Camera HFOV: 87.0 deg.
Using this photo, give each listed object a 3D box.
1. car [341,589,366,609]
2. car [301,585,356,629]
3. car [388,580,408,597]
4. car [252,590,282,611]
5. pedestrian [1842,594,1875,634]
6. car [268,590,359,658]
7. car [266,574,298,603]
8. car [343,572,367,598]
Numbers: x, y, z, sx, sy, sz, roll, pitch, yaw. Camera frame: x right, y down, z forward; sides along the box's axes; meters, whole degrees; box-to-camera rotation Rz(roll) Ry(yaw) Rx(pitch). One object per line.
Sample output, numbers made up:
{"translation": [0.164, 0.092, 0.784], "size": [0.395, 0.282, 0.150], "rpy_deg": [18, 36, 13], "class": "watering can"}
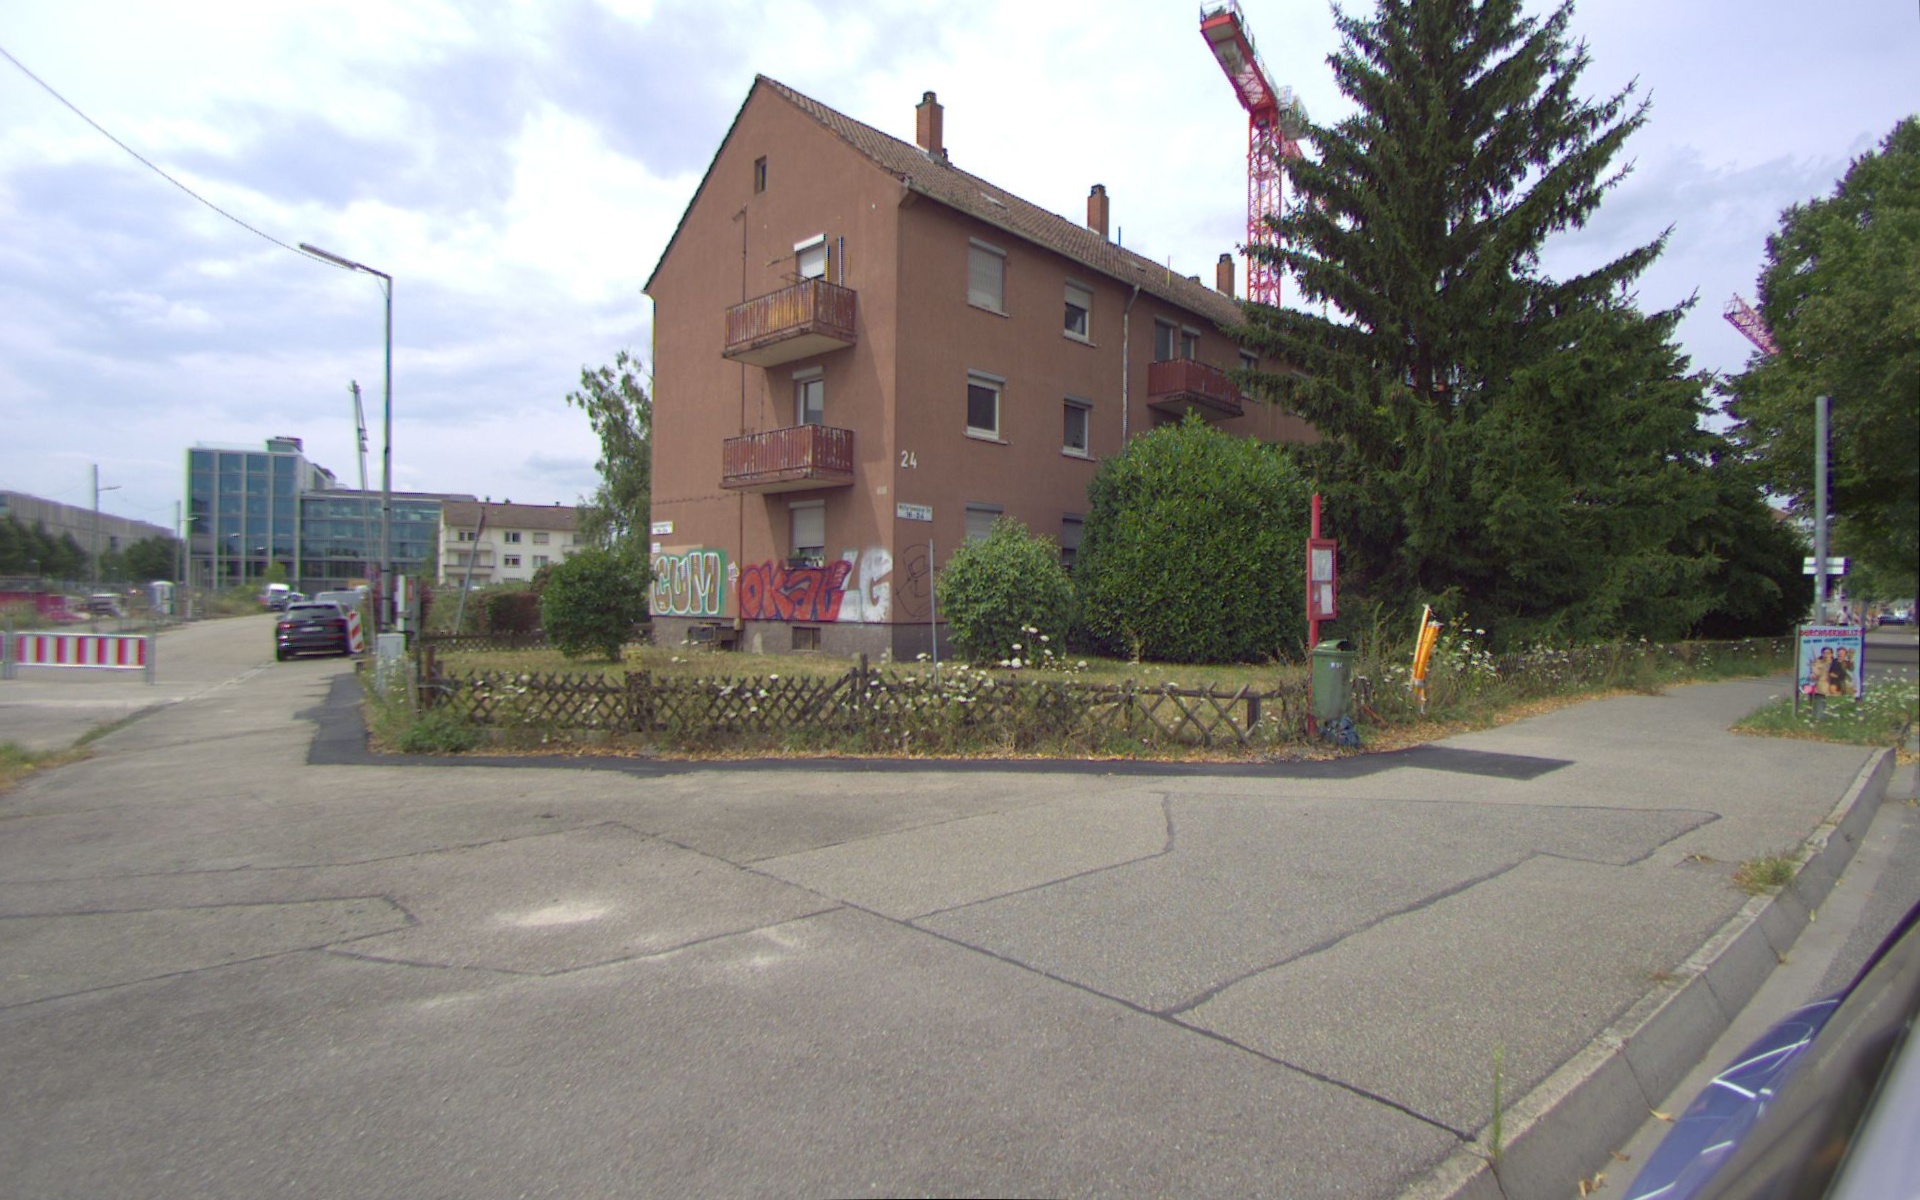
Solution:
{"translation": [-52.231, -0.079, 87.215], "size": [1.791, 1.705, 3.846], "rpy_deg": [0, 0, -30], "class": "car"}
{"translation": [-27.072, 0.240, 43.464], "size": [1.792, 1.704, 3.847], "rpy_deg": [-2, 2, -30], "class": "car"}
{"translation": [-58.431, -1.199, 105.183], "size": [1.792, 1.704, 3.847], "rpy_deg": [-2, 2, -30], "class": "car"}
{"translation": [-61.385, -0.010, 89.671], "size": [1.792, 1.704, 3.847], "rpy_deg": [-2, 2, -30], "class": "car"}
{"translation": [42.630, 0.675, 48.028], "size": [0.870, 1.837, 0.887], "rpy_deg": [2, 1, -28], "class": "pedestrian"}
{"translation": [-18.850, 0.631, 29.652], "size": [1.791, 1.704, 3.849], "rpy_deg": [-2, 2, -26], "class": "car"}
{"translation": [-77.233, -1.322, 115.316], "size": [2.561, 3.121, 5.875], "rpy_deg": [-2, 2, -30], "class": "car"}
{"translation": [-80.515, -2.083, 134.810], "size": [2.561, 3.342, 5.875], "rpy_deg": [-2, 2, -30], "class": "car"}
